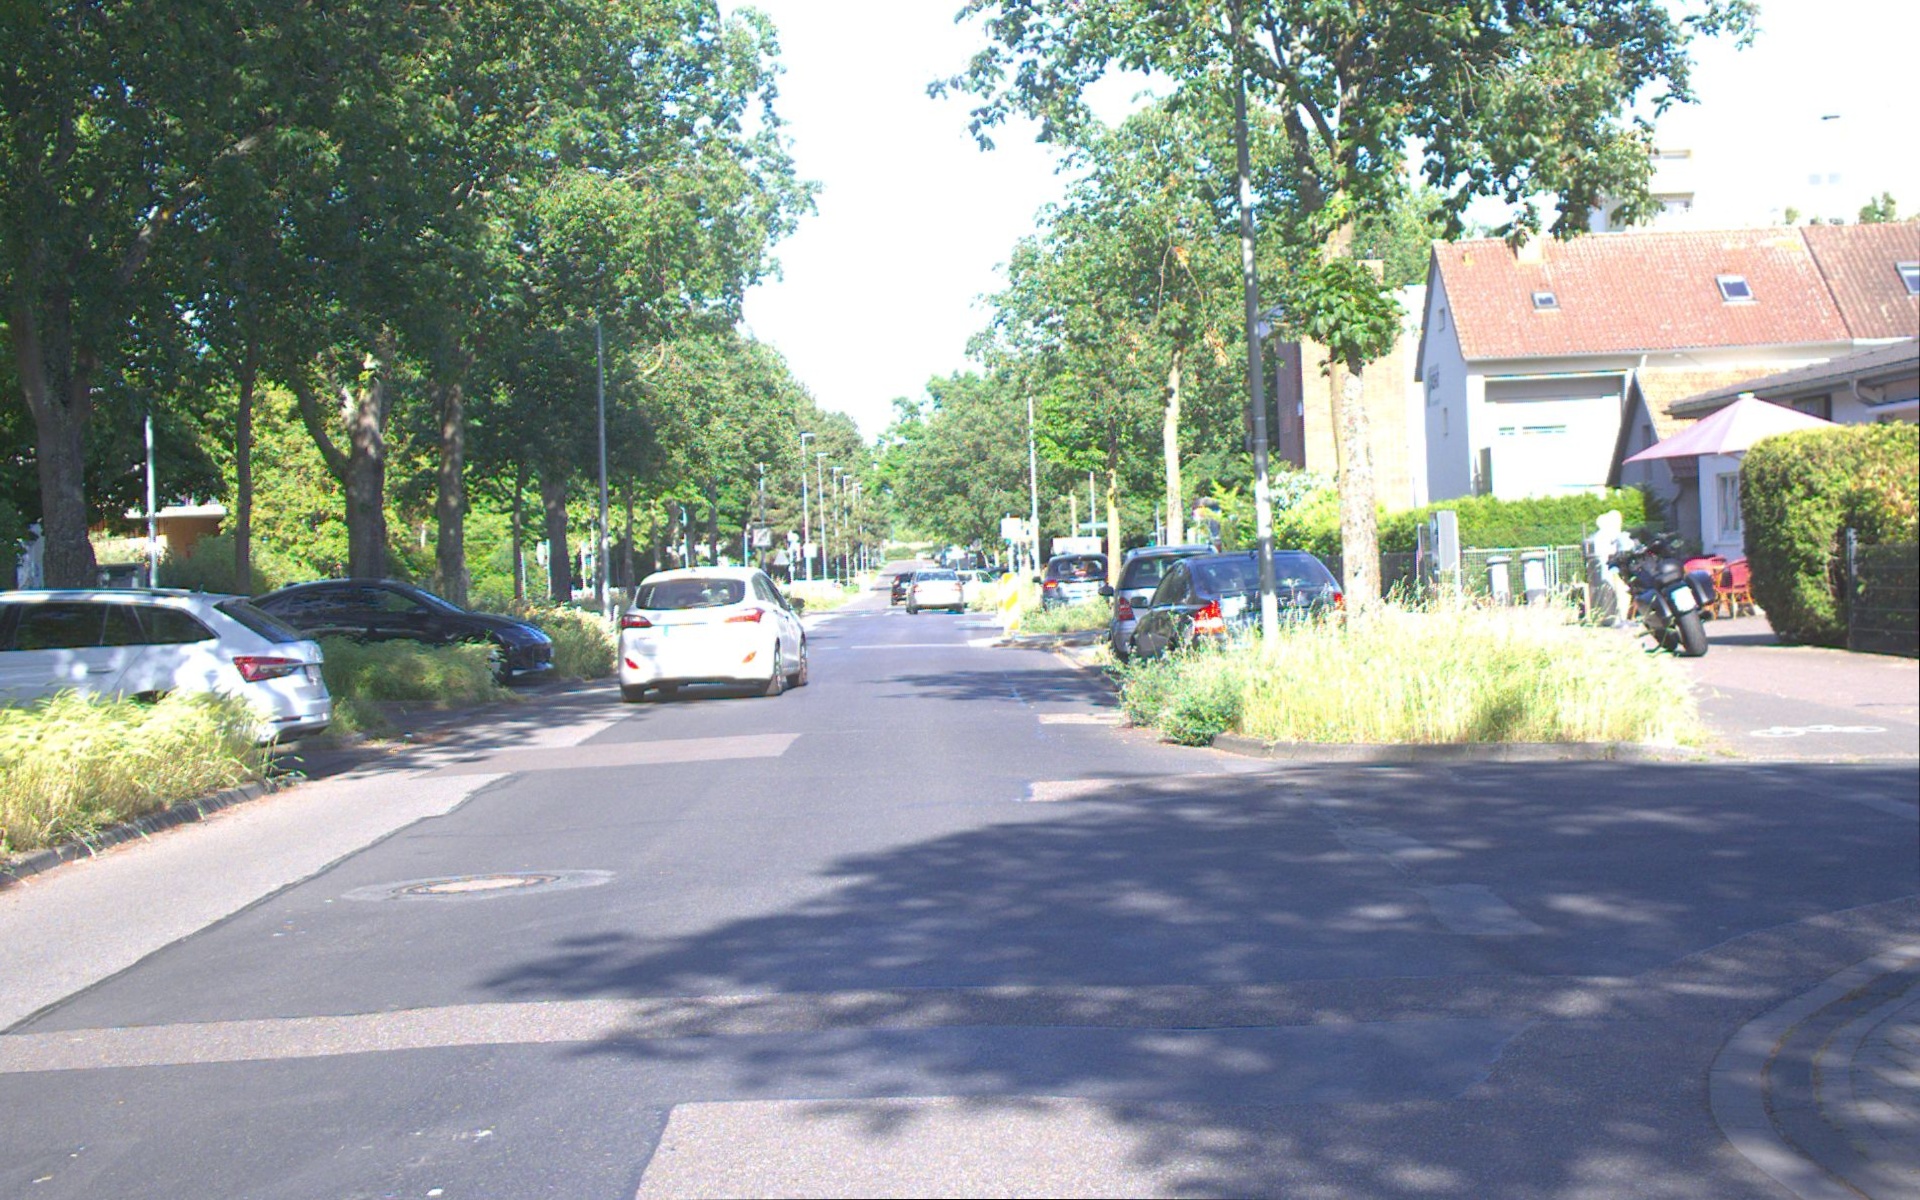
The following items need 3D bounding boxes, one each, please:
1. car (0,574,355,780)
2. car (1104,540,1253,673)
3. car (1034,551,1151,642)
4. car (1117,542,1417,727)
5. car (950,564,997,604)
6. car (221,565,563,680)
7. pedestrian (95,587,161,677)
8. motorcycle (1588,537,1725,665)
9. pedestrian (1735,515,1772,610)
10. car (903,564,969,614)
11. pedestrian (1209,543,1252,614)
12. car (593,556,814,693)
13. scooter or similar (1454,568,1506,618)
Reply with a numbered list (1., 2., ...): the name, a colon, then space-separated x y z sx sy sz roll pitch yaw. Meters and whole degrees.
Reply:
1. car: -7.277 0.600 26.916 4.671 1.498 2.000 -1 0 1
2. car: 2.812 0.075 45.009 1.610 1.616 4.382 1 0 0
3. car: 2.735 -0.062 71.769 1.993 1.722 4.000 -3 0 -3
4. car: 2.864 0.301 33.079 1.993 1.616 4.382 1 0 -7
5. car: 0.520 -0.623 135.613 1.733 1.503 3.658 1 0 -1
6. car: -7.656 0.297 46.645 4.367 1.526 1.808 0 0 -1
7. pedestrian: -17.096 0.649 70.604 1.224 1.821 1.551 0 0 -17
8. motorcycle: 7.103 -0.009 35.171 0.818 1.223 2.352 -3 1 -1
9. pedestrian: 11.591 -0.550 50.238 0.439 1.380 0.639 0 0 5
10. car: -0.767 -0.355 108.211 1.993 1.503 3.658 1 0 -1
11. pedestrian: 7.814 -0.616 99.480 1.112 2.007 0.922 -2 1 -1
12. car: -2.906 0.243 39.875 1.994 1.450 4.224 -1 1 3
13. scooter or similar: 9.061 -0.121 59.914 0.368 0.855 1.412 -1 1 -14
